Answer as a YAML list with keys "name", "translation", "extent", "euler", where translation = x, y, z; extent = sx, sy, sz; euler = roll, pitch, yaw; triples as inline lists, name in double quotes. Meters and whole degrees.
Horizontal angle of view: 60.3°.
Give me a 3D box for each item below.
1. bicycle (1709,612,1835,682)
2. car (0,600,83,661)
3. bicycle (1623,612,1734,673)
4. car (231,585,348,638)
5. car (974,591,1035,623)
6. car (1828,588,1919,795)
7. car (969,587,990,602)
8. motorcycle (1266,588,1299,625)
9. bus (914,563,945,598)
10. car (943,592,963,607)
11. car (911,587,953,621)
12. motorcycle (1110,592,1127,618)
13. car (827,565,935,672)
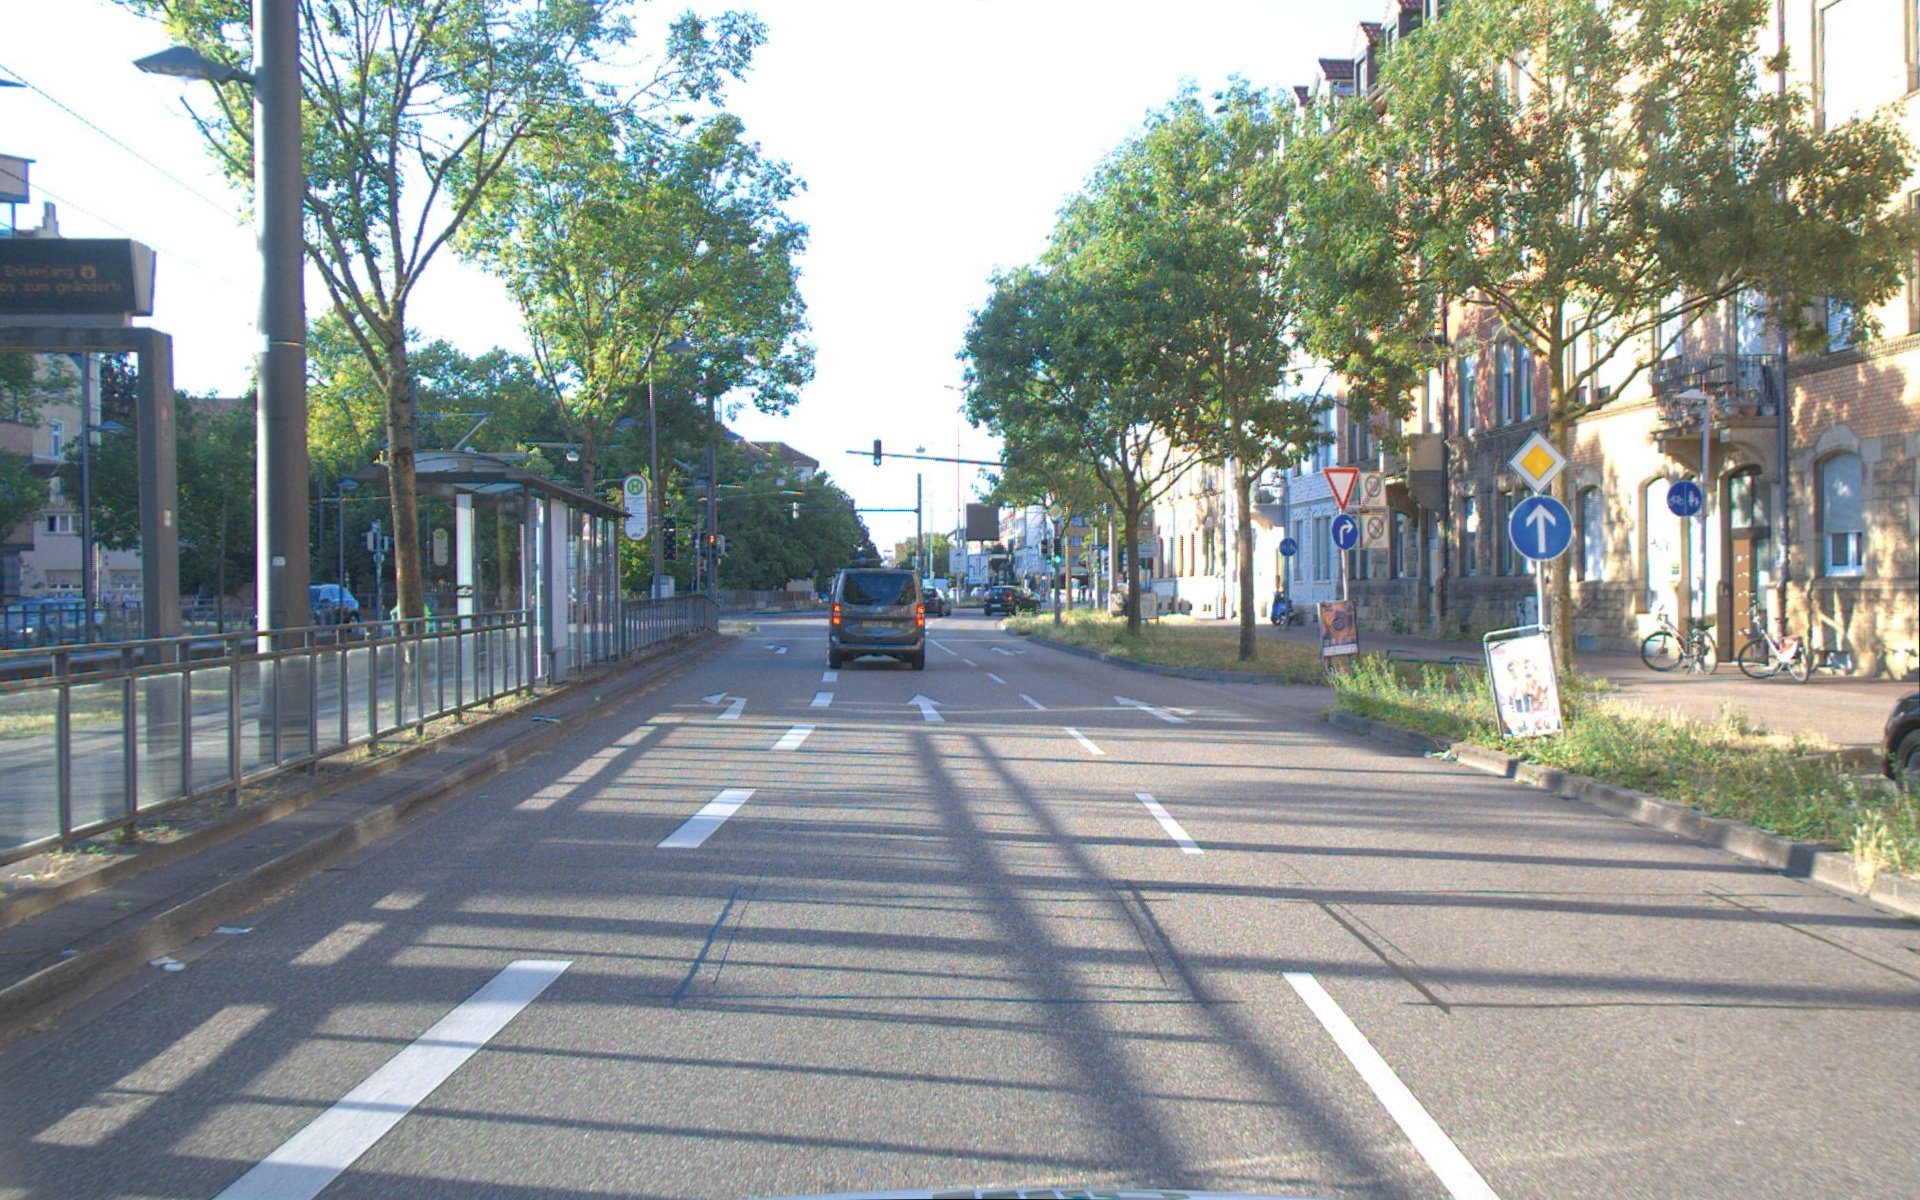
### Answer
- name: "bicycle"
  translation: [12.345, 0.688, 25.220]
  extent: [0.719, 0.964, 2.339]
  euler: [-2, 0, -1]
- name: "car"
  translation: [-23.718, 0.716, 41.354]
  extent: [1.578, 1.438, 4.429]
  euler: [0, 0, -5]
- name: "bicycle"
  translation: [12.030, 0.693, 27.758]
  extent: [0.854, 0.932, 2.083]
  euler: [-2, 0, -3]
- name: "car"
  translation: [-21.265, 0.327, 52.668]
  extent: [1.954, 1.579, 4.891]
  euler: [0, 0, -3]
- name: "car"
  translation: [2.269, 0.339, 83.497]
  extent: [1.952, 1.537, 4.001]
  euler: [1, 0, 19]
- name: "car"
  translation: [7.741, 0.693, 10.773]
  extent: [1.670, 1.474, 4.285]
  euler: [2, 0, -4]
- name: "car"
  translation: [2.306, -0.609, 194.856]
  extent: [1.955, 1.685, 4.293]
  euler: [-1, 0, -7]
- name: "motorcycle"
  translation: [11.092, 0.221, 56.963]
  extent: [0.543, 1.235, 2.070]
  euler: [1, 0, -6]
- name: "bus"
  translation: [-4.339, -2.703, 231.330]
  extent: [3.227, 4.698, 9.984]
  euler: [1, 0, -7]
- name: "car"
  translation: [-0.818, -0.050, 193.980]
  extent: [1.955, 1.685, 4.293]
  euler: [-1, 0, -7]
- name: "car"
  translation: [-1.352, 0.176, 80.681]
  extent: [1.807, 1.571, 3.633]
  euler: [0, 0, 3]
- name: "motorcycle"
  translation: [6.546, 0.215, 68.377]
  extent: [0.591, 1.062, 1.745]
  euler: [0, 0, 2]
- name: "car"
  translation: [-1.640, 0.337, 32.844]
  extent: [1.954, 1.934, 4.295]
  euler: [1, 0, -5]
